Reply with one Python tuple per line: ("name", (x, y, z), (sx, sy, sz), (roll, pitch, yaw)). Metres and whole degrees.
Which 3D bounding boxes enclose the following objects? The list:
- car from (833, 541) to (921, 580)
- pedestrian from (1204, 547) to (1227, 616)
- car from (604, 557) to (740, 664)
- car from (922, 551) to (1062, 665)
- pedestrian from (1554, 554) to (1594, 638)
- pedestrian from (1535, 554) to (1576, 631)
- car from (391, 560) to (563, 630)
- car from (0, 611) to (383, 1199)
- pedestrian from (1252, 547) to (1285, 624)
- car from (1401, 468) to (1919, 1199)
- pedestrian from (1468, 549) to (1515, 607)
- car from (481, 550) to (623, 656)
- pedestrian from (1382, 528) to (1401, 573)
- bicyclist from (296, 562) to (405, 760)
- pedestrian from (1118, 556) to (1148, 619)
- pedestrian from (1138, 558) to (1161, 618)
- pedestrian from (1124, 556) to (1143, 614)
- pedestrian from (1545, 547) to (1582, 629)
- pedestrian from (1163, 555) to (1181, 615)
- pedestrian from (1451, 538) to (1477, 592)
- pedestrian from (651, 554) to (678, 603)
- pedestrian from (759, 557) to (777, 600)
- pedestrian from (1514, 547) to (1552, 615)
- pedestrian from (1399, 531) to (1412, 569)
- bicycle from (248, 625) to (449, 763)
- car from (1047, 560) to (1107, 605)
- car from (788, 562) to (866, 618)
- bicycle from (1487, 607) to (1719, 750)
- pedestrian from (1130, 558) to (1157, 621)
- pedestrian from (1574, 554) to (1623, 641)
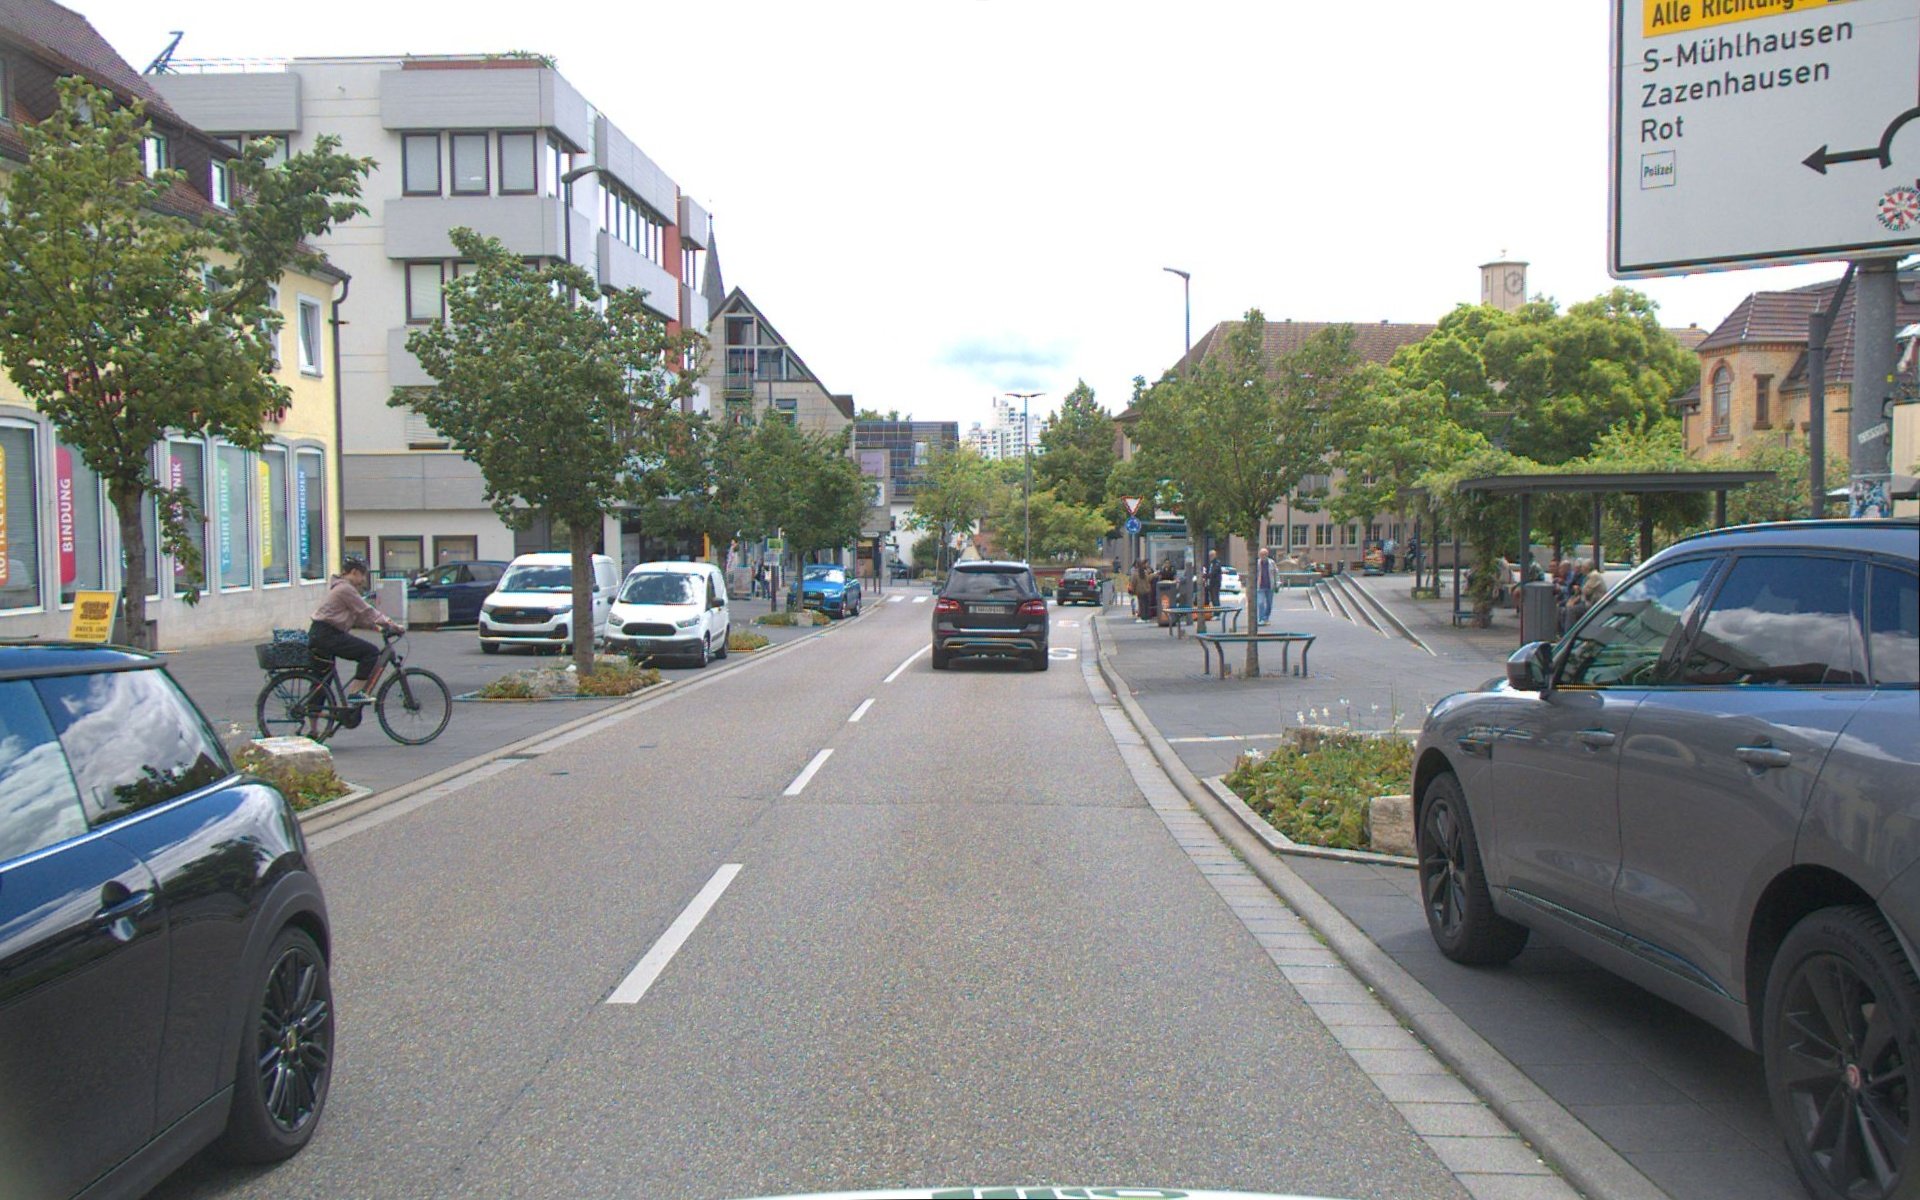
("car", (-6.218, -2.930, 123.690), (6.187, 2.605, 2.195), (1, -1, -18))
("pedestrian", (6.481, -0.469, 41.930), (0.500, 1.709, 0.576), (-1, 1, 3))
("car", (-4.934, 0.121, 28.846), (1.622, 1.701, 4.351), (1, 1, 0))
("car", (0.457, 0.146, 27.934), (1.987, 1.757, 4.429), (0, -1, -4))
("pedestrian", (10.099, -0.071, 27.204), (0.484, 1.343, 0.576), (-1, 3, 7))
("pedestrian", (10.262, -0.127, 28.521), (0.556, 1.283, 0.542), (-1, 3, 7))
("car", (-11.260, -0.138, 38.716), (3.555, 1.585, 1.667), (0, 1, -4))
("car", (-2.497, 0.781, 3.065), (1.574, 1.412, 3.628), (-2, 0, -1))
("pedestrian", (6.986, -0.338, 37.421), (0.670, 1.711, 0.715), (-1, 1, 14))
("car", (2.950, 0.567, 5.044), (1.889, 1.754, 4.573), (-1, 1, -1))
("pedestrian", (11.942, -0.505, 37.145), (0.670, 1.291, 0.760), (-1, 2, -40))
("car", (-7.700, -0.001, 31.595), (1.721, 1.845, 4.475), (1, 1, -2))
("pedestrian", (14.793, -1.711, 56.694), (0.493, 1.534, 0.453), (-1, 2, -11))
("bicyclist", (-5.509, 0.529, 14.943), (0.769, 1.724, 0.503), (-2, 1, -36))
("pedestrian", (4.413, -0.315, 42.205), (0.482, 1.576, 0.535), (-2, 1, -43))
("pedestrian", (5.105, -0.317, 44.540), (0.490, 1.593, 0.497), (-1, 1, -3))
("pedestrian", (5.001, -0.429, 47.690), (0.379, 1.648, 0.469), (-2, 1, 19))
("pedestrian", (10.161, -0.207, 27.842), (0.487, 1.343, 0.525), (-1, 3, 8))
("pedestrian", (5.717, -0.412, 44.612), (0.385, 1.593, 0.352), (-1, 1, -3))
("pedestrian", (12.557, -0.869, 41.207), (0.555, 1.346, 0.546), (0, 1, 13))
("pedestrian", (-9.741, -0.712, 54.527), (0.631, 1.593, 0.585), (-1, 1, 33))
("pedestrian", (-7.237, -0.817, 62.343), (0.574, 1.616, 0.639), (1, 1, 4))
("pedestrian", (11.474, -0.387, 33.138), (0.610, 1.330, 0.546), (-1, 2, 7))
("pedestrian", (15.395, -1.740, 57.174), (0.355, 1.307, 0.642), (-1, 2, 8))
("bicycle", (-5.496, 0.820, 14.921), (1.637, 1.106, 0.408), (-3, 1, -38))
("car", (4.577, -0.705, 64.004), (2.009, 1.615, 4.377), (2, 2, 7))
("car", (-4.143, -0.350, 52.184), (1.658, 1.627, 4.335), (2, 2, 6))
("bicycle", (4.989, 0.599, 12.843), (1.693, 1.013, 0.345), (-2, 1, -6))
("pedestrian", (4.642, -0.266, 41.913), (0.503, 1.576, 0.486), (-1, 1, 29))
("pedestrian", (10.224, -0.043, 26.478), (0.603, 1.343, 0.586), (-1, 3, 6))
